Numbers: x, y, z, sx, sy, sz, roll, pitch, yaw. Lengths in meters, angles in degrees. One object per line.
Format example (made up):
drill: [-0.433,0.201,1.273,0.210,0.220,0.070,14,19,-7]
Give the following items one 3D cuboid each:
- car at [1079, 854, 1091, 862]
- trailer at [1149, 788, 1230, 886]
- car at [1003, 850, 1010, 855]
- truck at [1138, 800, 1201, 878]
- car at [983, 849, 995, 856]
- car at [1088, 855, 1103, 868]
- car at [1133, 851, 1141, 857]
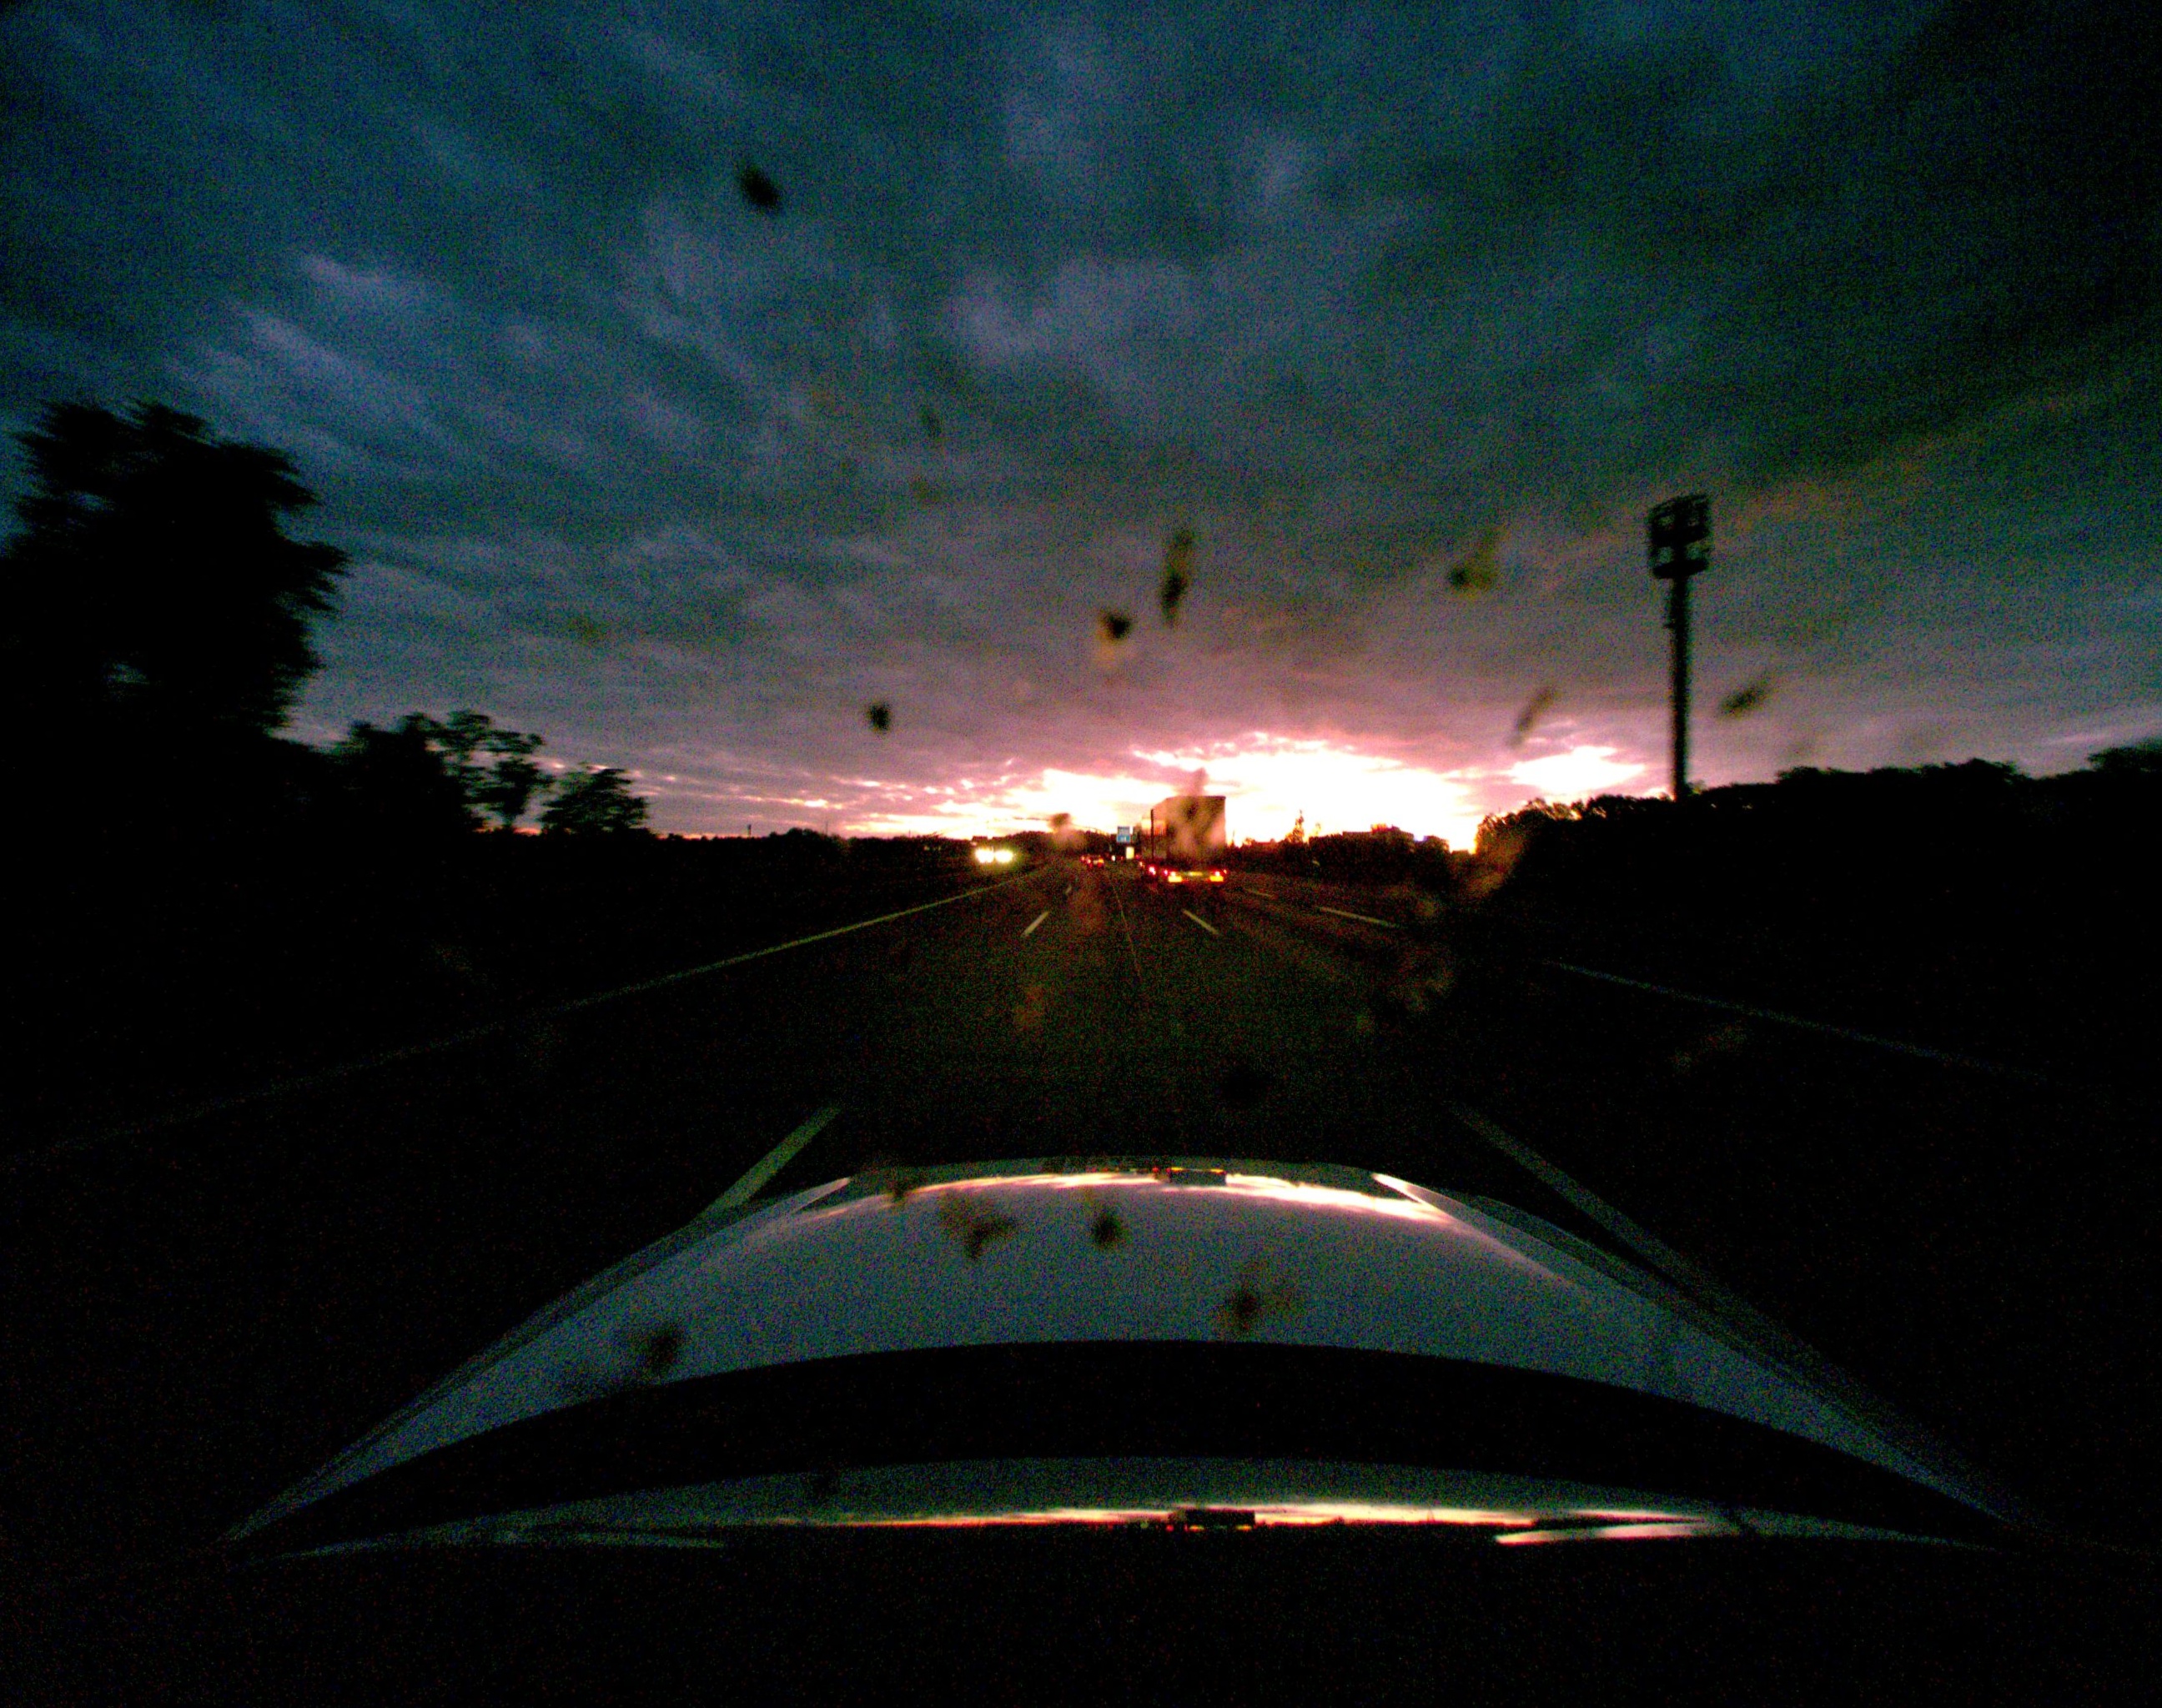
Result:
car: [0.766,0.705,145.077,1.681,1.401,3.414,-1,-2,7]
trailer: [4.873,-0.734,38.305,2.712,4.071,8.832,0,0,1]
car: [-22.102,-0.500,242.505,1.990,1.404,4.791,0,0,-4]
truck: [5.009,-0.807,47.992,2.681,4.071,10.521,0,0,1]
car: [-16.939,-0.316,150.531,1.716,1.227,4.183,0,0,0]
car: [1.636,0.886,91.298,1.684,1.401,3.408,0,-1,1]
car: [15.321,0.024,223.021,1.983,1.717,4.006,0,-2,6]
